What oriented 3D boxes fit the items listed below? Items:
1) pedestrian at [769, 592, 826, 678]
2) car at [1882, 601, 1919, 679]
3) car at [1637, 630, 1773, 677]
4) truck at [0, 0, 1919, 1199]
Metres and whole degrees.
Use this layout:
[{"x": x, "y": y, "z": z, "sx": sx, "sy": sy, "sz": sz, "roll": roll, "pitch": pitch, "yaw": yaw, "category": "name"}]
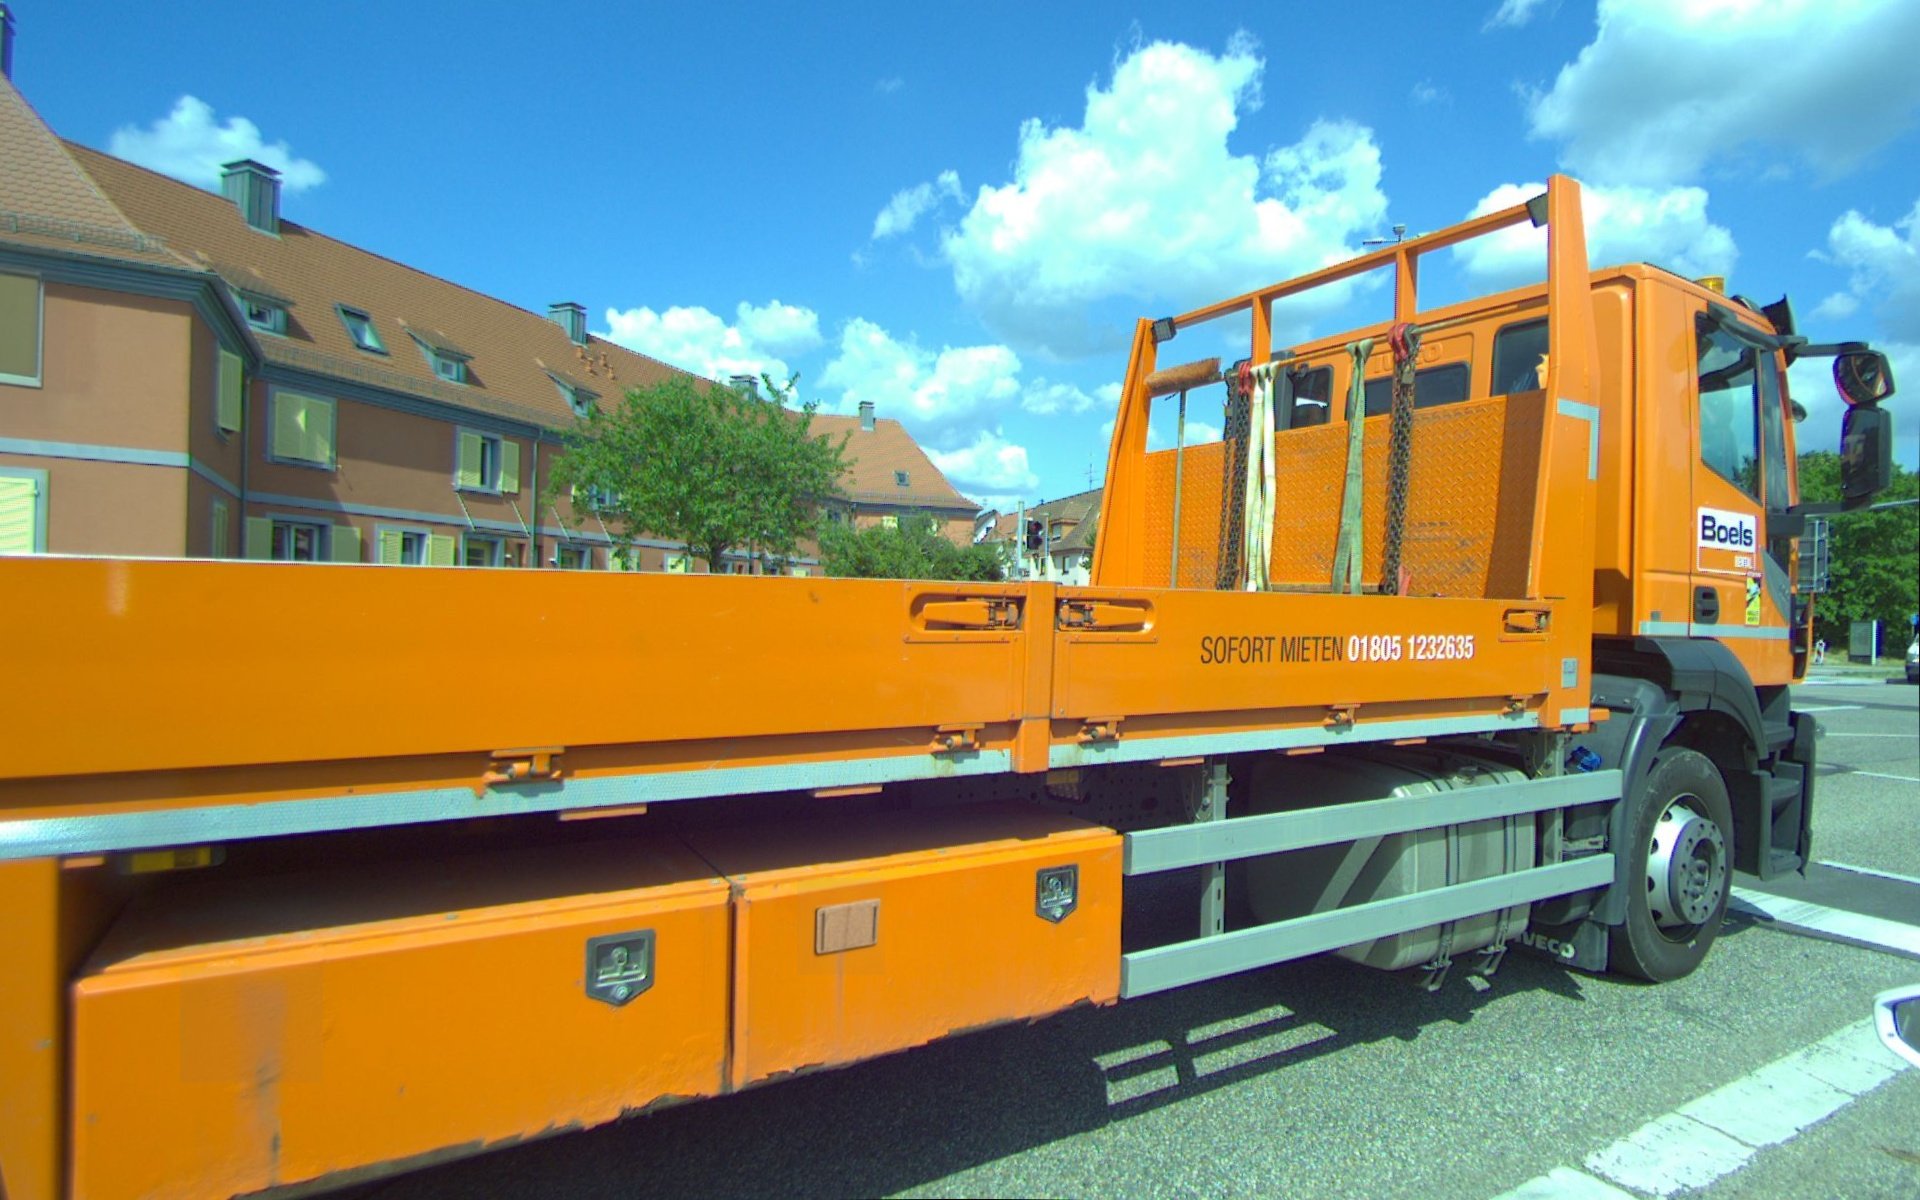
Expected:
[{"x": -3.149, "y": 0.675, "z": 19.458, "sx": 0.842, "sy": 1.604, "sz": 0.692, "roll": 2, "pitch": 1, "yaw": -32, "category": "pedestrian"}, {"x": 33.971, "y": 1.439, "z": 33.866, "sx": 5.889, "sy": 2.504, "sz": 2.166, "roll": 2, "pitch": 1, "yaw": -26, "category": "car"}, {"x": 29.958, "y": 2.129, "z": 40.483, "sx": 3.922, "sy": 1.550, "sz": 2.000, "roll": 3, "pitch": 1, "yaw": -1, "category": "car"}, {"x": -1.085, "y": -0.318, "z": 2.948, "sx": 10.946, "sy": 3.459, "sz": 3.054, "roll": 2, "pitch": 1, "yaw": -32, "category": "truck"}]
